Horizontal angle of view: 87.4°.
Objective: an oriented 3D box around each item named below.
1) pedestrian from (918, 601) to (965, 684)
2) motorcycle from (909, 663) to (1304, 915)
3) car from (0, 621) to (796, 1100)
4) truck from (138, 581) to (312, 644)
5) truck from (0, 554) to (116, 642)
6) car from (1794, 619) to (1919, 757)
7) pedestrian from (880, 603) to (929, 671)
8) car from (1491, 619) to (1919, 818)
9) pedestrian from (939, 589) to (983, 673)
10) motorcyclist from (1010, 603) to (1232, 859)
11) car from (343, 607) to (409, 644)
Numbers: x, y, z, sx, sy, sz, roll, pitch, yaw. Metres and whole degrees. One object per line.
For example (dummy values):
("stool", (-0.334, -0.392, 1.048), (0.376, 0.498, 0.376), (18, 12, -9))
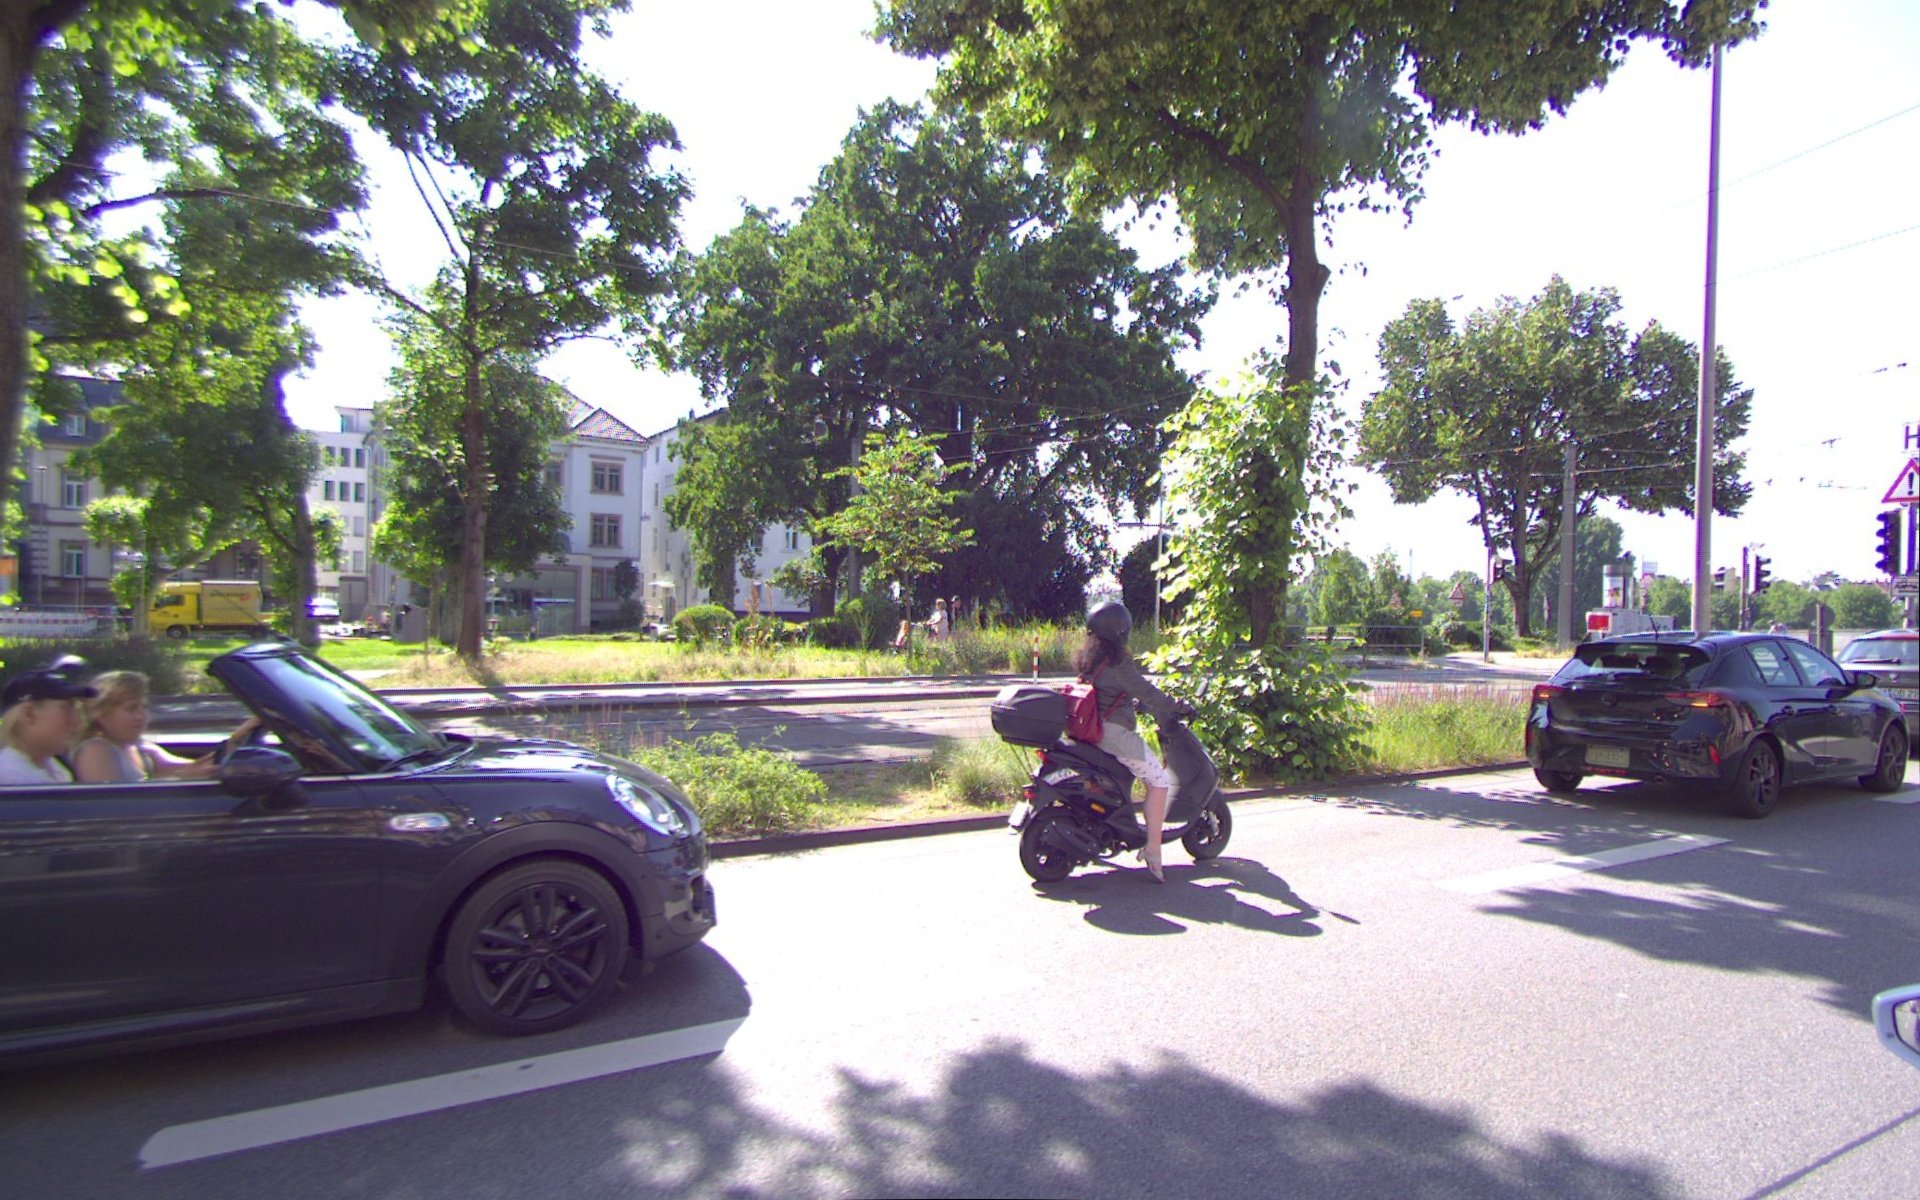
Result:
("pedestrian", (-0.484, 1.044, 25.247), (0.790, 2.040, 1.219), (0, 0, -23))
("motorcycle", (0.928, 1.017, 6.064), (2.325, 1.179, 0.896), (1, -1, -31))
("car", (-2.721, 0.751, 3.736), (3.867, 1.326, 1.625), (1, -1, -30))
("truck", (-40.179, 0.724, 55.273), (7.576, 3.258, 2.442), (1, -1, -35))
("truck", (-50.040, -0.111, 50.182), (11.697, 4.319, 3.596), (1, -1, -36))
("car", (12.401, 0.997, 12.335), (4.689, 1.505, 1.740), (1, -1, -29))
("pedestrian", (-1.384, 0.907, 24.831), (0.921, 1.641, 1.034), (0, 0, -23))
("car", (6.838, 0.906, 9.093), (3.952, 1.430, 1.784), (1, -1, -30))
("pedestrian", (0.021, 0.823, 26.728), (0.790, 2.179, 1.121), (0, 0, -23))
("motorcyclist", (0.956, 0.712, 6.047), (0.981, 1.376, 0.896), (1, -1, -30))
("car", (-34.877, 1.513, 59.964), (4.488, 2.040, 1.990), (1, 0, 40))
